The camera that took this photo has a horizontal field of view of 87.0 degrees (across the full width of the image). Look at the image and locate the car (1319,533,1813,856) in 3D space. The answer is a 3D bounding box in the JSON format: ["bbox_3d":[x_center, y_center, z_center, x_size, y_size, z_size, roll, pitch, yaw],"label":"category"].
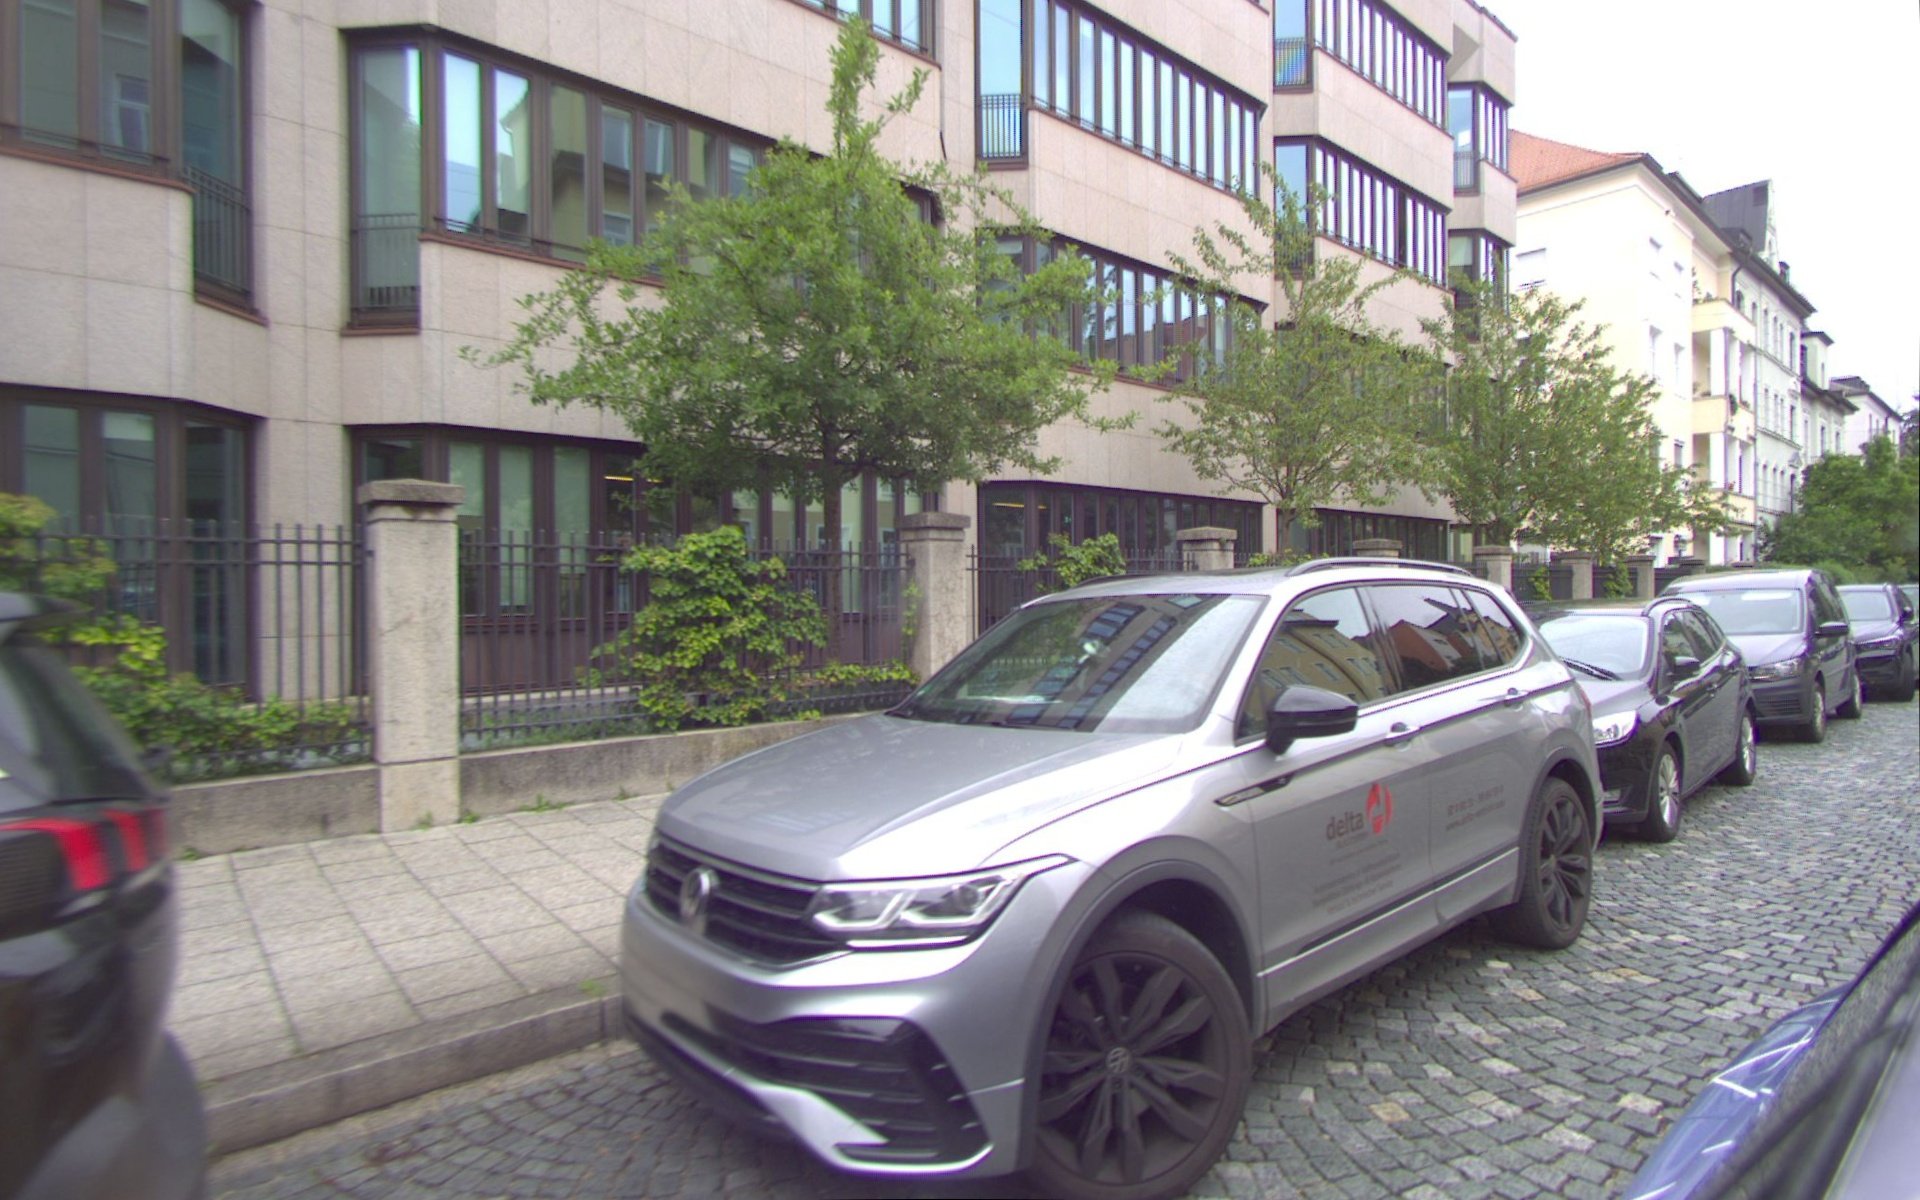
[{"bbox_3d":[4.835,0.537,7.756,4.579,1.757,1.875,-1,-3,-42],"label":"car"}]

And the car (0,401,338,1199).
[{"bbox_3d":[-3.249,0.704,0.583,4.668,1.757,1.874,-1,-3,-43],"label":"car"}]

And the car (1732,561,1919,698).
[{"bbox_3d":[13.236,0.377,14.995,4.729,1.724,1.863,-1,-2,-41],"label":"car"}]

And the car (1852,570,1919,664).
[{"bbox_3d":[19.511,0.295,20.523,3.821,1.773,1.620,-1,-2,-42],"label":"car"}]

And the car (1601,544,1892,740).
[{"bbox_3d":[9.118,0.417,11.588,4.433,1.820,1.789,-1,-3,-42],"label":"car"}]

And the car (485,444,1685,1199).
[{"bbox_3d":[0.956,0.600,3.993,4.804,1.757,1.876,-1,-1,-40],"label":"car"}]
